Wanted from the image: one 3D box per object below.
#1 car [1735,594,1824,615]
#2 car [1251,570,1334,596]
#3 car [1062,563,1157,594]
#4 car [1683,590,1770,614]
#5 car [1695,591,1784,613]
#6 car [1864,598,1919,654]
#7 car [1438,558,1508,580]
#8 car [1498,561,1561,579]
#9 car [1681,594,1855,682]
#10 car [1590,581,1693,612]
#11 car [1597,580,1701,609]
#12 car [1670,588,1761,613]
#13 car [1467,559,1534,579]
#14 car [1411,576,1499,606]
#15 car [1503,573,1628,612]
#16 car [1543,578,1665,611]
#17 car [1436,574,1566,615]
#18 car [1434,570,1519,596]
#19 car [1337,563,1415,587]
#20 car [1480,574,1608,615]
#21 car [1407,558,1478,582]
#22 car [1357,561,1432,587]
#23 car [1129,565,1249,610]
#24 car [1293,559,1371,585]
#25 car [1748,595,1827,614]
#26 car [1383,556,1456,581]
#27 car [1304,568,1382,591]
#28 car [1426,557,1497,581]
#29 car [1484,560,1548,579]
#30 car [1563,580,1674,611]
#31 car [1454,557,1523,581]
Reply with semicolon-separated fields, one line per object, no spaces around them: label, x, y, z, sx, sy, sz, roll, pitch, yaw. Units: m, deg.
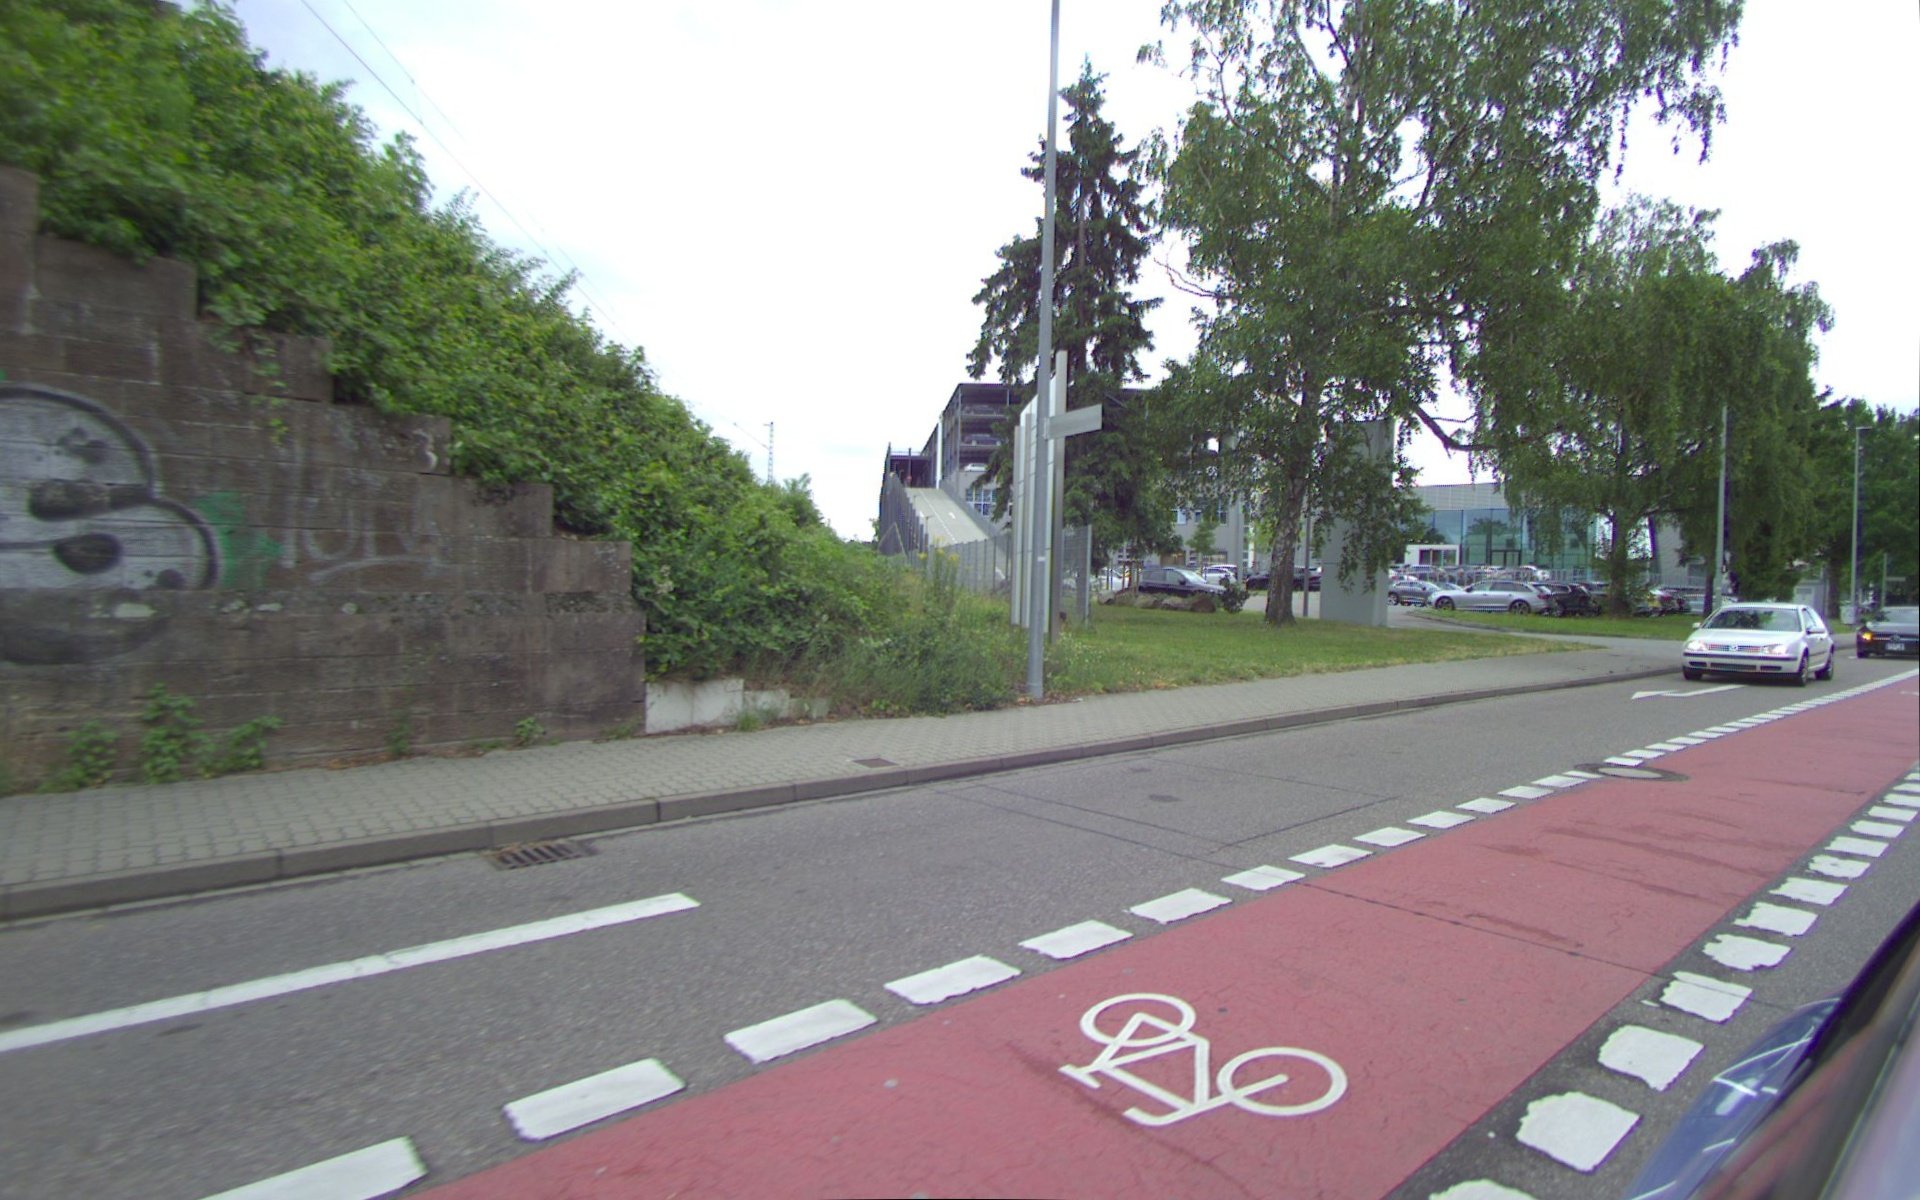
car;59.414;0.339;73.446;1.869;1.442;4.759;1;-1;-40
car;19.502;-0.970;59.438;1.801;1.391;4.302;1;-1;-42
car;7.890;-1.136;53.650;4.579;1.587;1.907;0;-1;-8
car;48.200;0.146;63.669;1.763;1.395;4.053;1;-1;-40
car;50.008;0.157;64.988;1.708;1.375;4.304;1;-1;-40
car;26.592;0.703;28.054;3.930;1.442;1.835;1;0;-41
car;38.547;-2.309;76.107;1.833;1.451;4.302;1;-1;-42
car;47.956;-2.518;85.279;1.801;1.381;4.302;1;-1;-42
car;14.890;0.638;18.586;3.870;1.442;1.726;1;0;-39
car;32.952;-0.137;49.000;1.919;1.441;3.756;1;-1;-41
car;34.757;-0.256;51.117;1.868;1.371;4.000;1;-1;-39
car;46.358;0.065;62.163;1.708;1.450;4.195;1;-1;-40
car;42.479;-2.413;79.546;1.801;1.381;4.302;1;-1;-42
car;29.676;-0.554;60.755;1.869;1.647;4.305;3;-1;-41
car;26.620;-0.300;44.589;1.934;1.621;4.306;1;-1;-39
car;29.020;-0.224;45.722;1.868;1.400;4.306;1;-1;-39
car;21.530;-0.244;40.391;4.299;1.508;1.712;2;1;44
car;31.819;-1.033;62.447;1.869;1.525;4.304;1;0;-41
car;26.625;-1.568;64.887;1.801;1.389;4.302;1;-1;-42
car;24.648;-0.205;42.801;1.936;1.621;4.302;1;-1;-42
car;34.799;-2.154;73.089;1.801;1.545;4.302;1;-1;-42
car;29.098;-1.690;67.865;1.801;1.554;4.302;1;-1;-42
car;9.147;-0.532;40.563;4.299;1.608;1.938;4;3;44
car;23.045;-1.727;62.783;1.671;1.400;4.302;1;-1;-42
car;61.217;0.335;74.932;1.831;1.333;4.304;1;-1;-40
car;32.311;-2.176;71.230;1.827;1.546;4.302;1;-1;-42
car;24.226;-1.268;64.153;1.801;1.263;4.302;1;-1;-42
car;36.842;-2.249;74.404;1.801;1.531;4.302;1;-1;-42
car;45.862;-2.476;83.527;1.801;1.381;4.302;1;-1;-42
car;30.697;-0.174;47.270;1.777;1.396;4.004;1;-1;-38
car;40.561;-2.336;77.795;1.861;1.612;4.306;1;-1;-39
